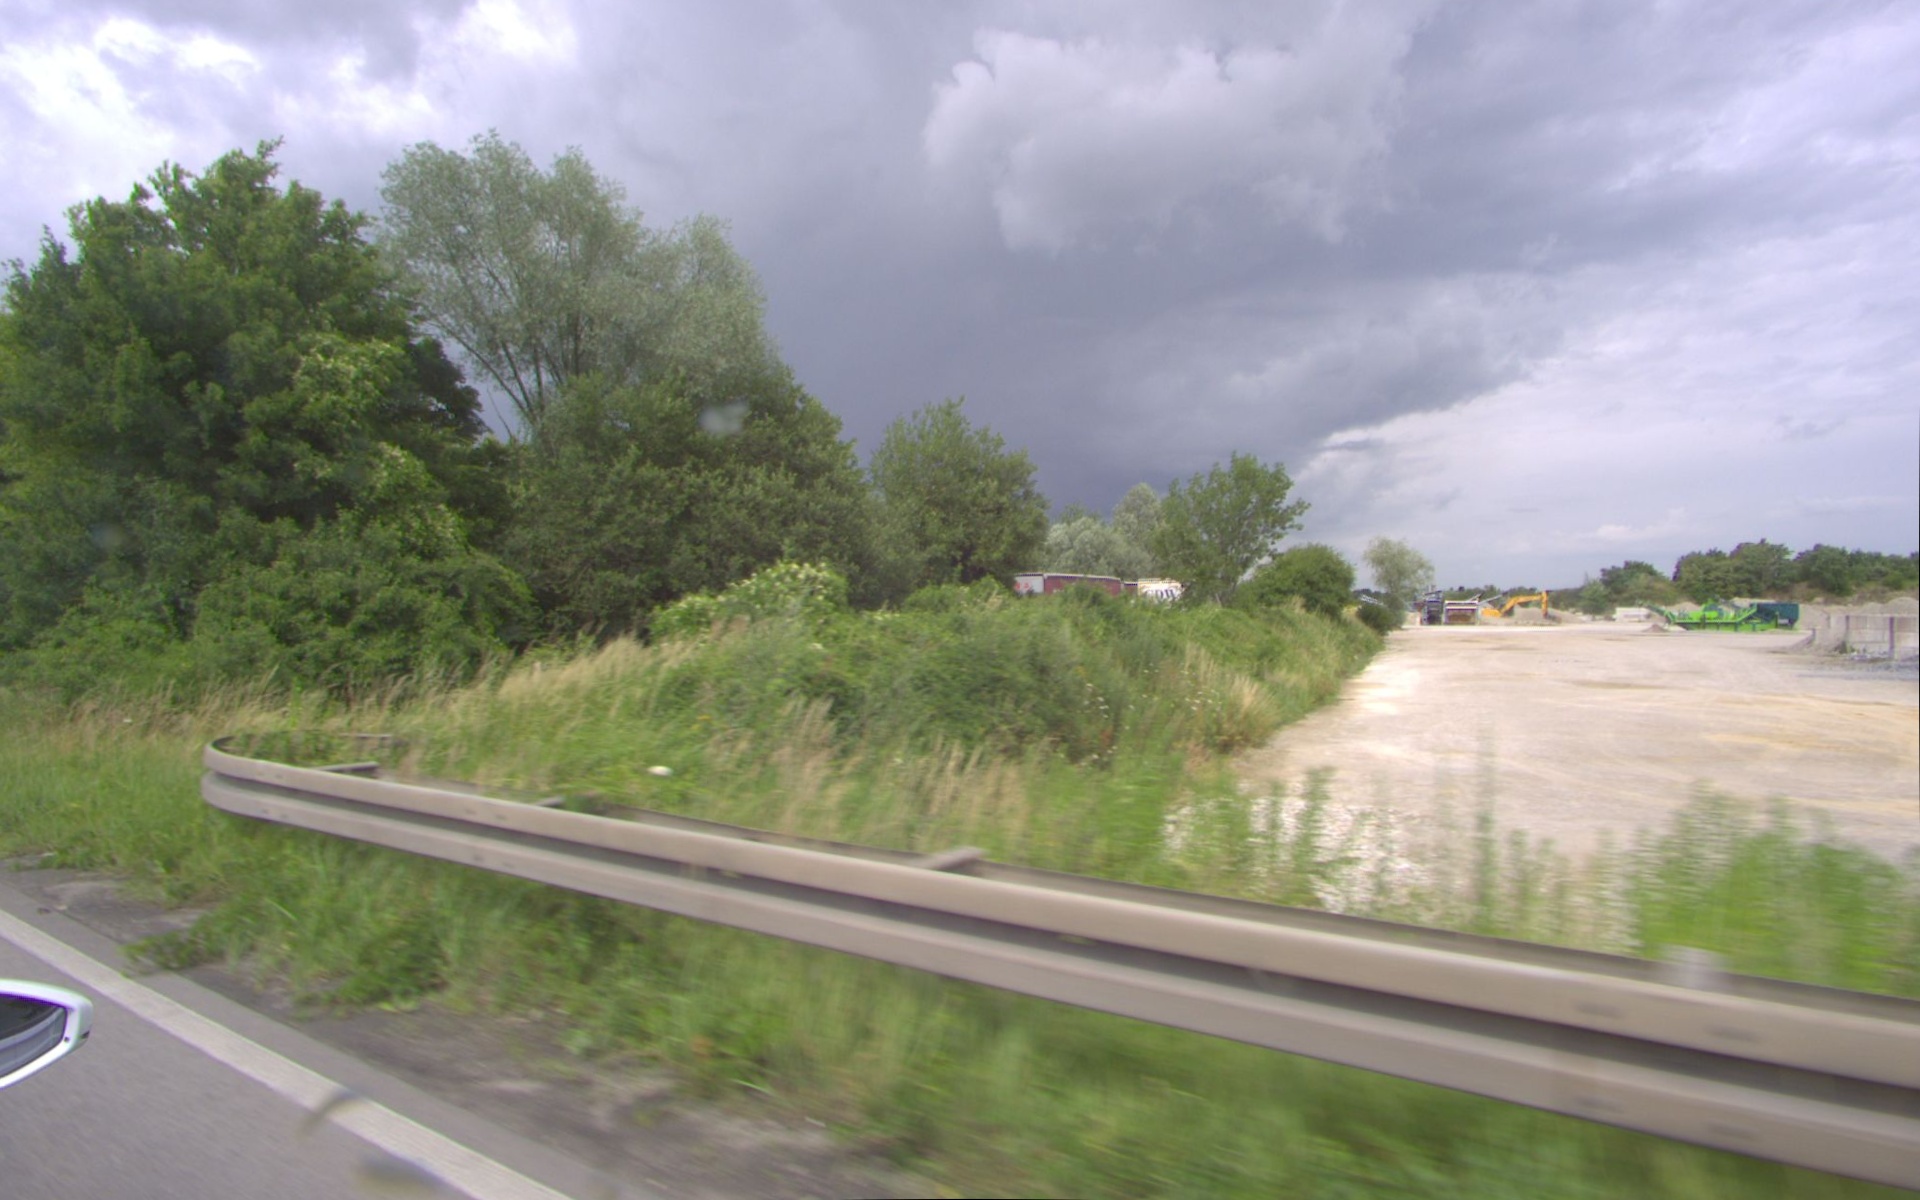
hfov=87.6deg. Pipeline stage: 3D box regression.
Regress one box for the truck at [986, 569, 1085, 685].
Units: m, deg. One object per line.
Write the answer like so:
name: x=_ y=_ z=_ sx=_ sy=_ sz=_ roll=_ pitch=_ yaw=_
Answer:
truck: x=3.516 y=1.161 z=45.050 sx=2.622 sy=4.850 sz=6.147 roll=0 pitch=0 yaw=22

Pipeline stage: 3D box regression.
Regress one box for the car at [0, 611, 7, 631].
car: x=-82.903 y=1.762 z=85.269 sx=1.976 sy=1.718 sz=4.453 roll=1 pitch=-1 yaw=-36

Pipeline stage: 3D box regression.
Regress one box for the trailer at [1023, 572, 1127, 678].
trailer: x=6.140 y=1.168 z=51.510 sx=2.622 sy=4.898 sz=10.256 roll=0 pitch=0 yaw=22

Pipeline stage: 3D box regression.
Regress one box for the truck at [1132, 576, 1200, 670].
truck: x=11.559 y=1.241 z=55.879 sx=2.622 sy=4.953 sz=5.950 roll=0 pitch=0 yaw=22
